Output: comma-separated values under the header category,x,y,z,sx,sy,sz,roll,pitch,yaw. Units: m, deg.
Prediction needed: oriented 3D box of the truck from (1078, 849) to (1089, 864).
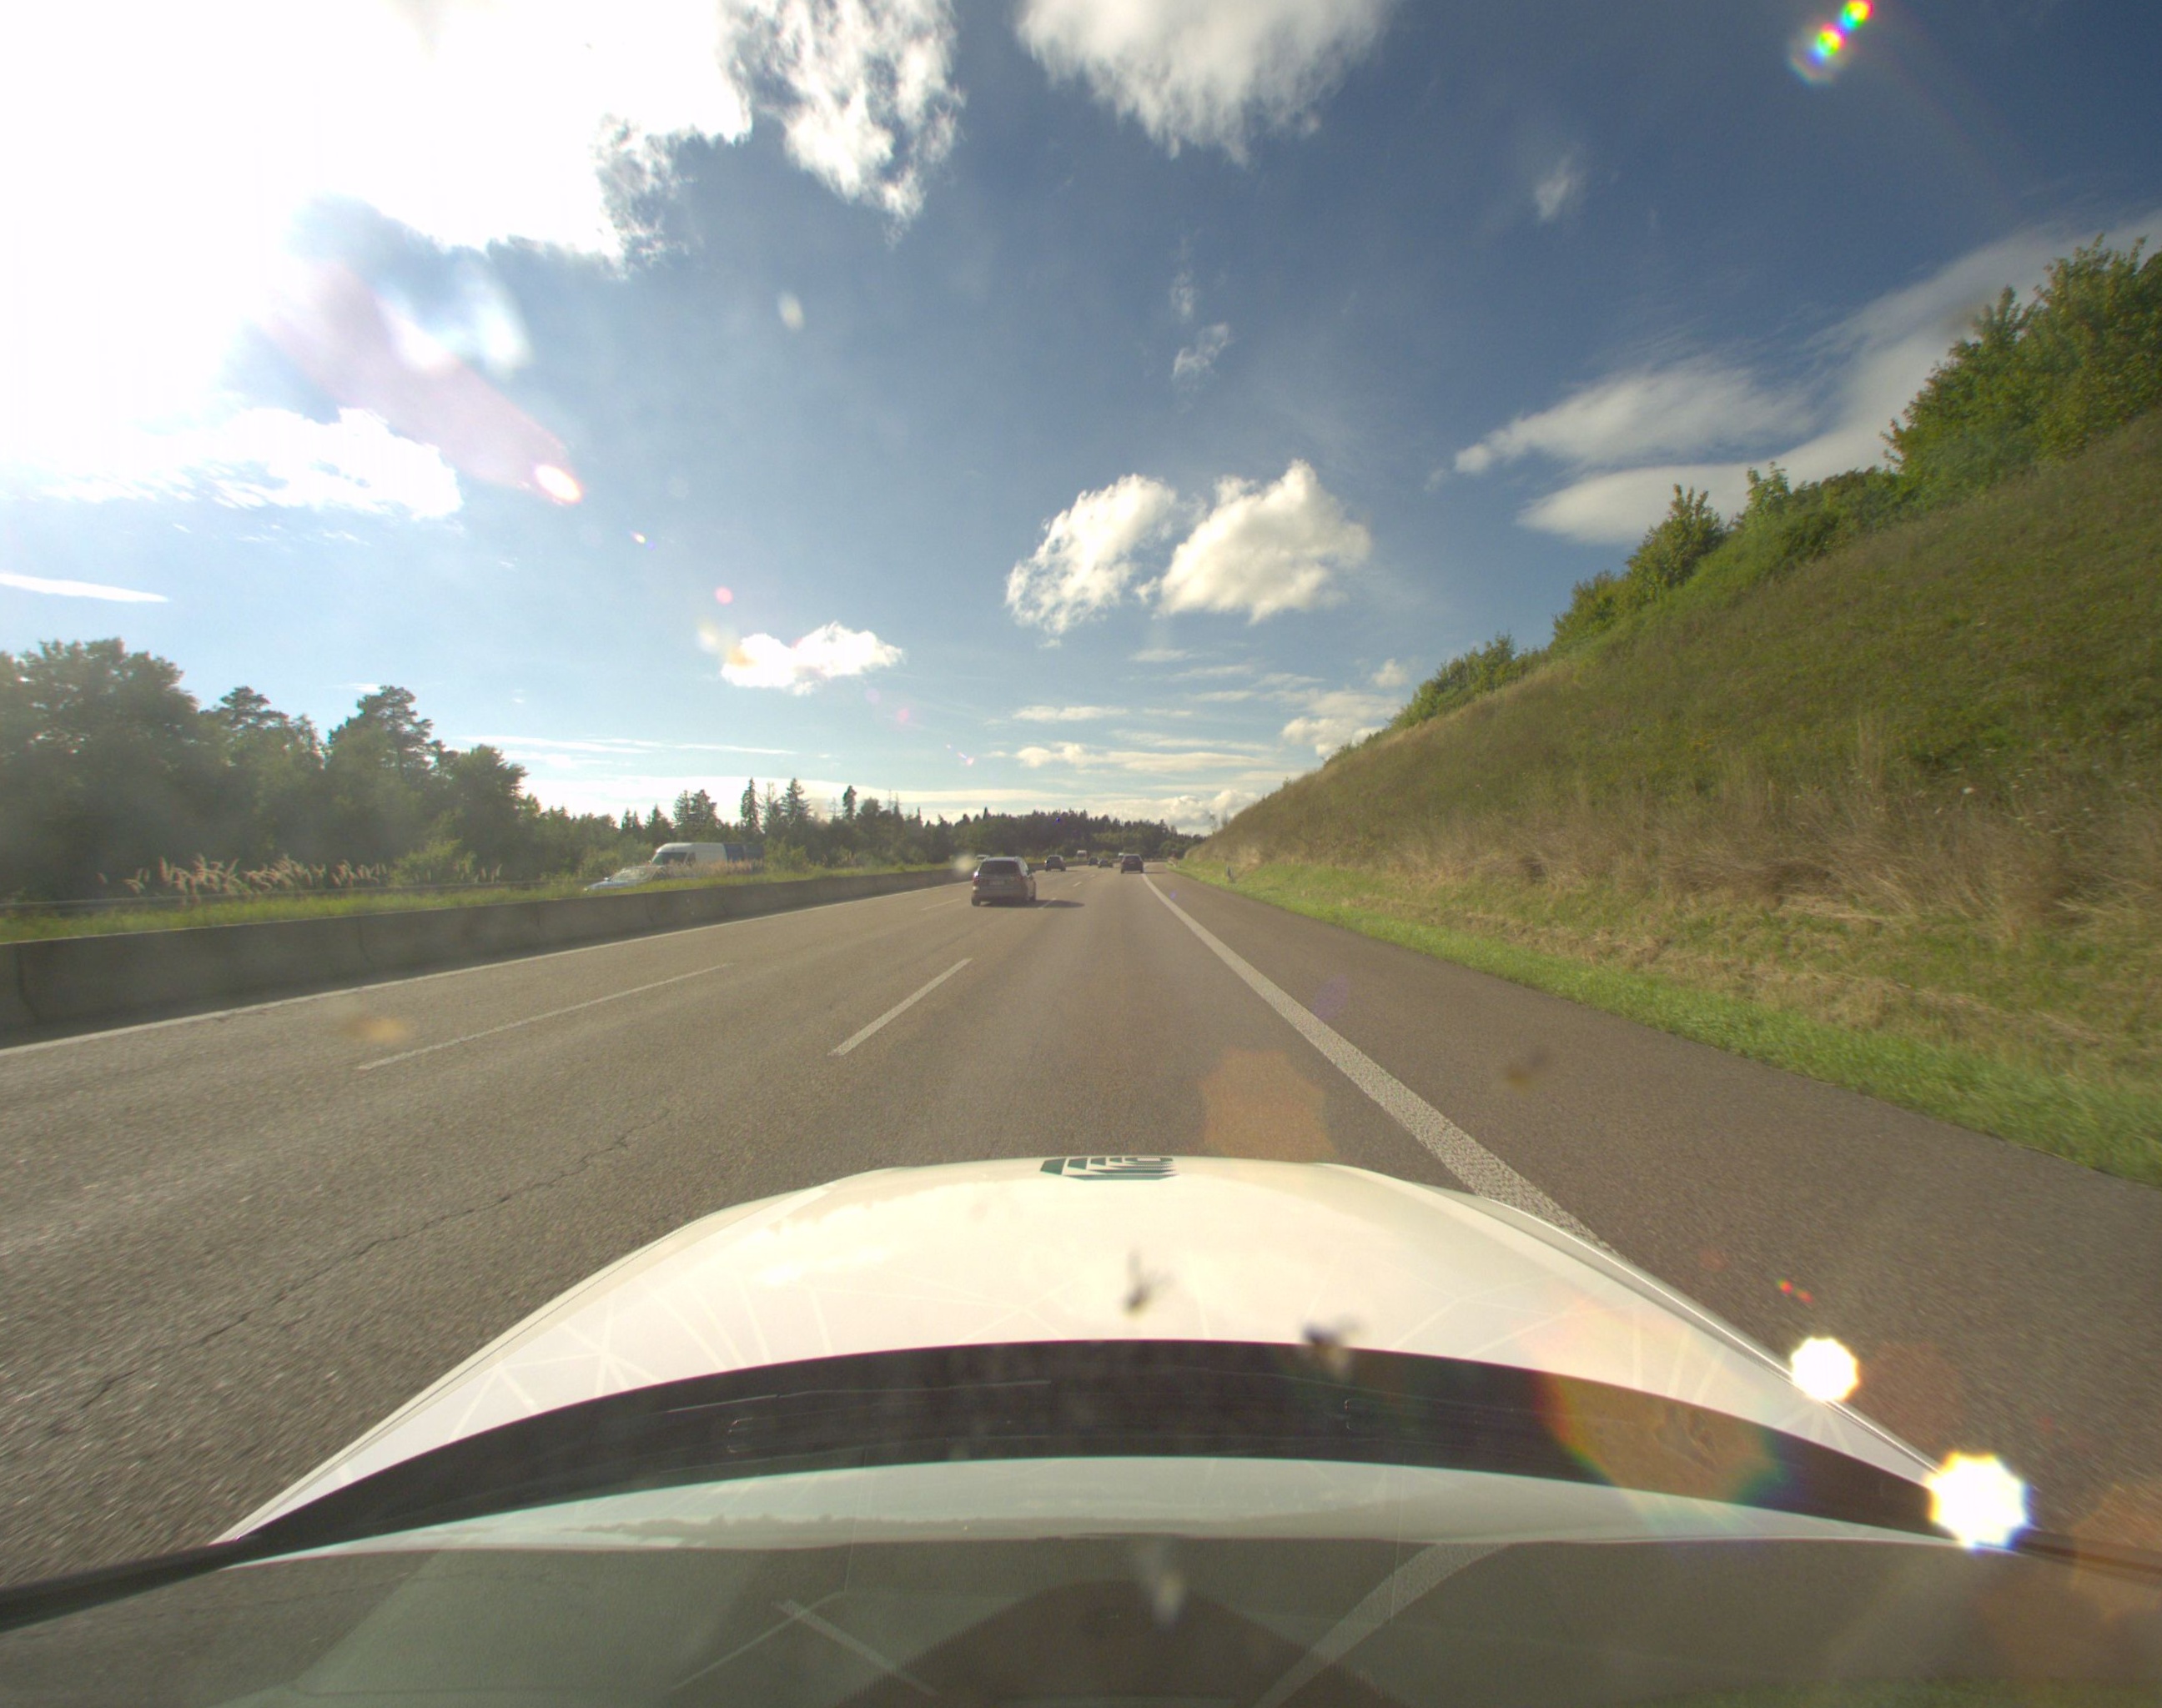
category,x,y,z,sx,sy,sz,roll,pitch,yaw
truck,0.700,0.818,247.375,2.789,4.392,5.472,-1,0,5

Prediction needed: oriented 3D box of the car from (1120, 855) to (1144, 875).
category,x,y,z,sx,sy,sz,roll,pitch,yaw
car,4.366,0.902,69.991,1.867,1.675,3.890,-1,0,1

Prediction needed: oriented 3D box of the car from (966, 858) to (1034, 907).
category,x,y,z,sx,sy,sz,roll,pitch,yaw
car,-2.636,0.886,27.327,1.868,1.497,3.879,-1,0,0

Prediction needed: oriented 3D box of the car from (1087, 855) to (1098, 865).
category,x,y,z,sx,sy,sz,roll,pitch,yaw
car,1.901,1.008,133.715,1.866,1.497,3.881,-1,0,2

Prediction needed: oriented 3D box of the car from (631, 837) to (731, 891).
category,x,y,z,sx,sy,sz,roll,pitch,yaw
car,-21.099,0.496,43.322,2.261,2.683,5.890,-1,0,1

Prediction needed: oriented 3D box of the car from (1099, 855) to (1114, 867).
category,x,y,z,sx,sy,sz,roll,pitch,yaw
car,3.310,0.892,106.955,1.866,1.497,3.882,-1,0,3

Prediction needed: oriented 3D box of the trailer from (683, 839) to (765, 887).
category,x,y,z,sx,sy,sz,roll,pitch,yaw
trailer,-20.993,0.509,48.142,2.261,2.683,5.564,-1,0,1

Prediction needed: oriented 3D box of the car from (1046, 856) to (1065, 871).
category,x,y,z,sx,sy,sz,roll,pitch,yaw
car,-2.640,0.985,84.780,1.868,1.497,3.879,-1,0,0

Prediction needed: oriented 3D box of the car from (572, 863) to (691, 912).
category,x,y,z,sx,sy,sz,roll,pitch,yaw
car,-15.021,1.076,27.453,1.881,1.507,3.576,-1,0,2
